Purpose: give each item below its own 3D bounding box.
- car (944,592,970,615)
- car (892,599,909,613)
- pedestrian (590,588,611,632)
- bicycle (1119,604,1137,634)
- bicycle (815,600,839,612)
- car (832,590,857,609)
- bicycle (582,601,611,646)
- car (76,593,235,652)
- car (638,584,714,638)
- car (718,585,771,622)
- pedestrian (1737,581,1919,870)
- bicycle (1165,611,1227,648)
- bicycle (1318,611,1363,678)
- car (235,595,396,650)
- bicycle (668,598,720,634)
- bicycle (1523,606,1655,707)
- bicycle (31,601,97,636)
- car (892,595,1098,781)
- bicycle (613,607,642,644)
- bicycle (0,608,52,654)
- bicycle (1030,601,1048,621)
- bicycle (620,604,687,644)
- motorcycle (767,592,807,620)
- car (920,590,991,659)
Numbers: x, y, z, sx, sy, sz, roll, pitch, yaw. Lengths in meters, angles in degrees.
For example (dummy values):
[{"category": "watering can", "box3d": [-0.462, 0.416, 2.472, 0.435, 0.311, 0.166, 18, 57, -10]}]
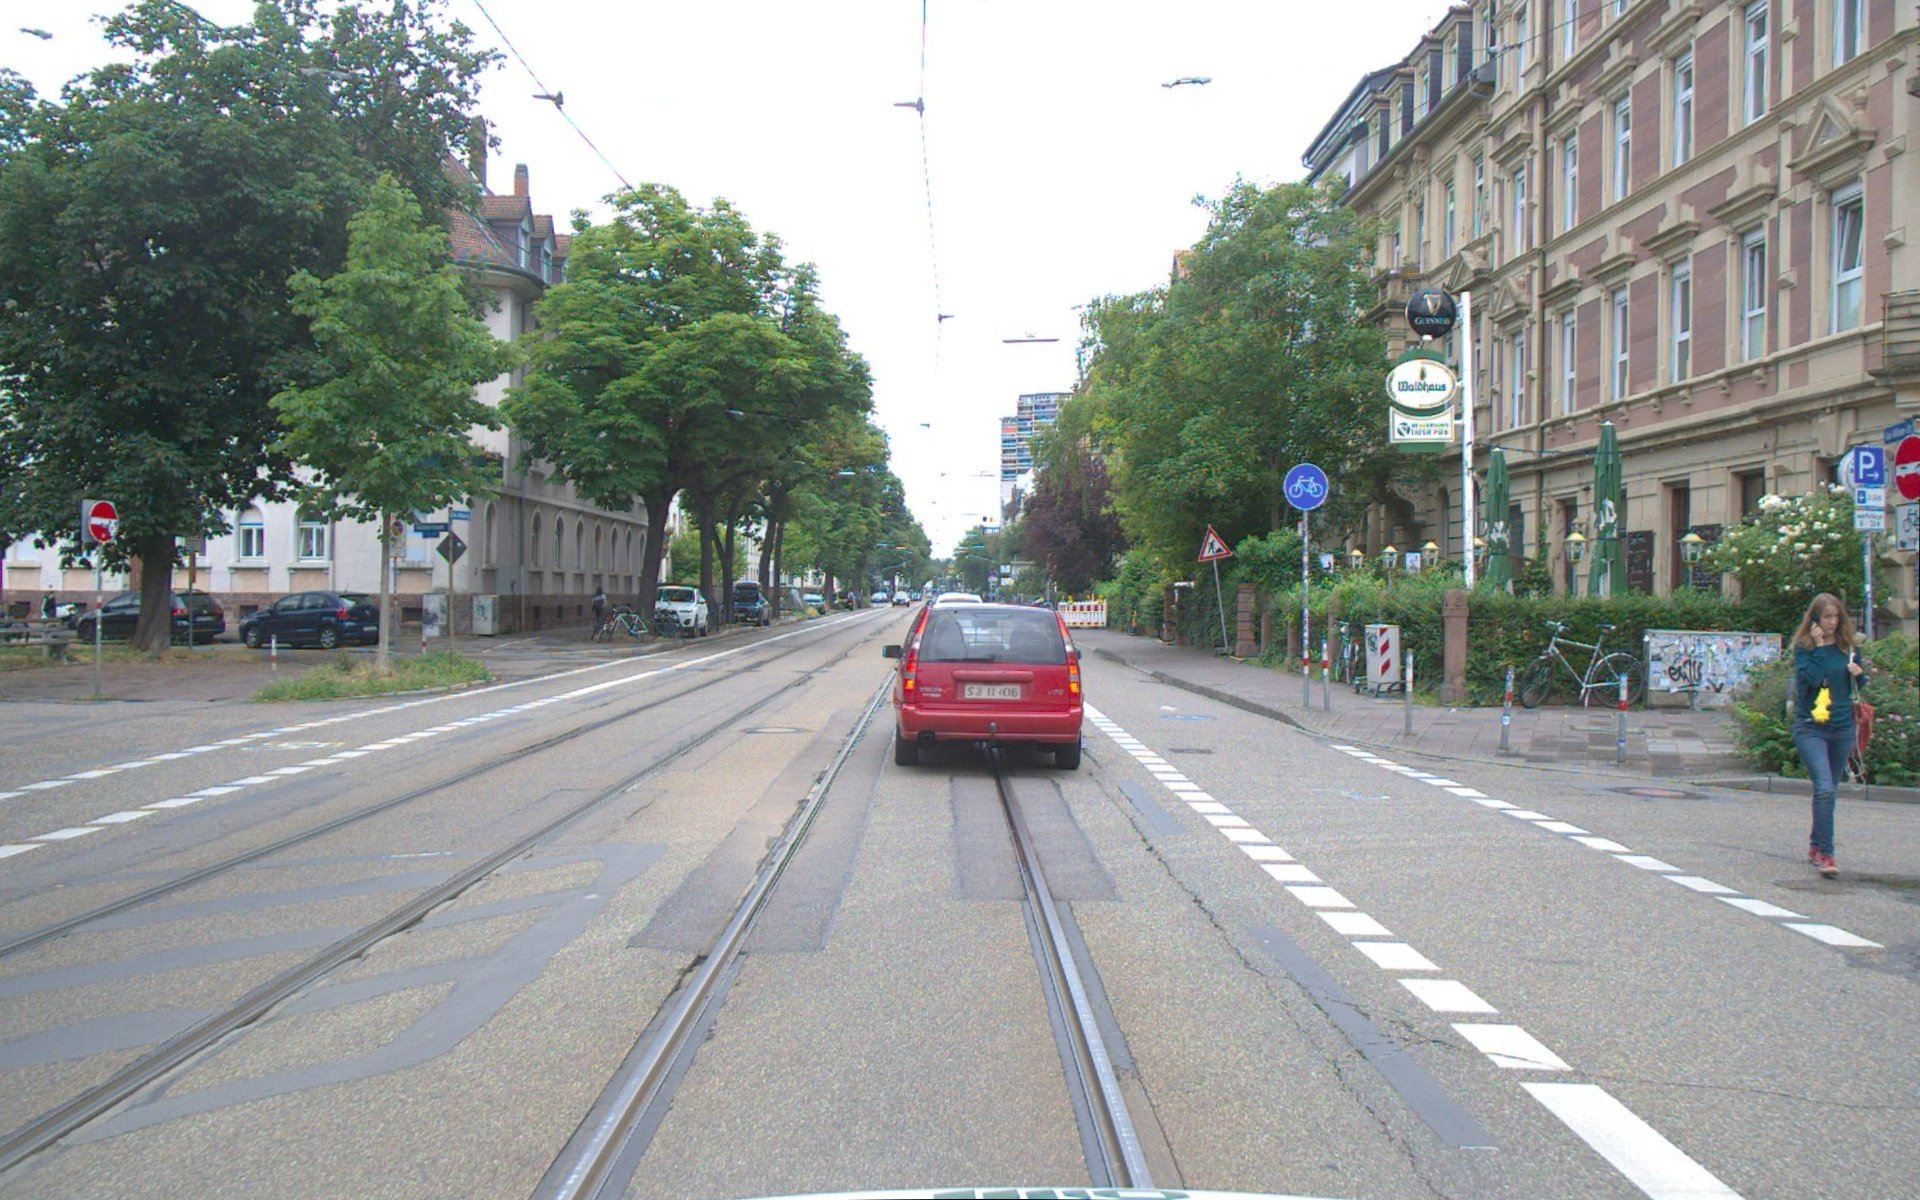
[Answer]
[{"category": "car", "box3d": [-0.236, 0.245, 118.728, 1.706, 1.634, 3.998, 1, 0, -3]}, {"category": "car", "box3d": [-6.082, 0.562, 170.104, 1.720, 1.404, 4.025, 0, 0, -2]}, {"category": "pedestrian", "box3d": [-12.099, 0.338, 55.726, 0.553, 1.493, 0.722, 0, 0, -1]}, {"category": "bicycle", "box3d": [5.943, 0.660, 58.572, 0.469, 1.063, 1.531, 0, 0, 0]}, {"category": "bicycle", "box3d": [-10.083, 0.436, 125.647, 1.713, 0.858, 0.684, 1, 0, 0]}, {"category": "car", "box3d": [-9.782, -0.052, 140.245, 1.813, 1.590, 3.942, 1, 0, -1]}, {"category": "bicycle", "box3d": [-10.032, 0.645, 45.609, 0.664, 1.155, 1.927, 0, 1, -17]}, {"category": "car", "box3d": [-21.596, 0.574, 44.415, 3.852, 1.489, 1.706, 1, 0, 22]}, {"category": "car", "box3d": [-9.309, 0.345, 54.423, 1.859, 1.684, 4.224, 1, 0, -2]}, {"category": "car", "box3d": [-9.488, 0.138, 73.168, 1.741, 1.537, 4.237, 1, 0, 0]}, {"category": "pedestrian", "box3d": [5.346, 0.731, 10.236, 0.854, 1.685, 0.909, 1, 0, 18]}, {"category": "bicycle", "box3d": [7.125, 0.877, 49.975, 1.803, 1.094, 0.606, 0, 0, -2]}, {"category": "bicycle", "box3d": [6.375, 0.730, 27.754, 0.295, 1.060, 1.848, 1, 0, -1]}, {"category": "car", "box3d": [-16.439, 0.552, 42.204, 3.673, 1.330, 1.741, 0, 0, 23]}, {"category": "bicycle", "box3d": [-9.589, 0.560, 59.694, 1.706, 1.213, 0.653, 2, 0, 14]}, {"category": "bicycle", "box3d": [8.318, 0.739, 21.915, 1.570, 1.299, 0.513, 0, 0, 11]}, {"category": "bicycle", "box3d": [-27.449, 0.560, 50.658, 2.141, 1.053, 0.653, 1, 0, 26]}, {"category": "car", "box3d": [0.263, 0.714, 15.394, 1.655, 1.466, 3.742, 1, 0, -1]}, {"category": "bicycle", "box3d": [-9.057, 0.679, 45.076, 0.473, 0.975, 1.398, 0, 0, 1]}, {"category": "bicycle", "box3d": [-20.264, 0.663, 35.587, 1.637, 0.941, 0.448, 1, 1, 27]}, {"category": "bicycle", "box3d": [6.233, 0.826, 130.080, 0.898, 1.533, 2.382, 1, 0, 16]}, {"category": "bicycle", "box3d": [-9.331, 0.742, 50.432, 1.883, 1.140, 0.624, 2, 0, -1]}, {"category": "motorcycle", "box3d": [-9.987, 0.344, 95.293, 2.225, 1.538, 0.923, 0, -2, 35]}, {"category": "car", "box3d": [-0.072, 0.582, 41.963, 1.683, 1.653, 3.941, 1, 0, 1]}]
